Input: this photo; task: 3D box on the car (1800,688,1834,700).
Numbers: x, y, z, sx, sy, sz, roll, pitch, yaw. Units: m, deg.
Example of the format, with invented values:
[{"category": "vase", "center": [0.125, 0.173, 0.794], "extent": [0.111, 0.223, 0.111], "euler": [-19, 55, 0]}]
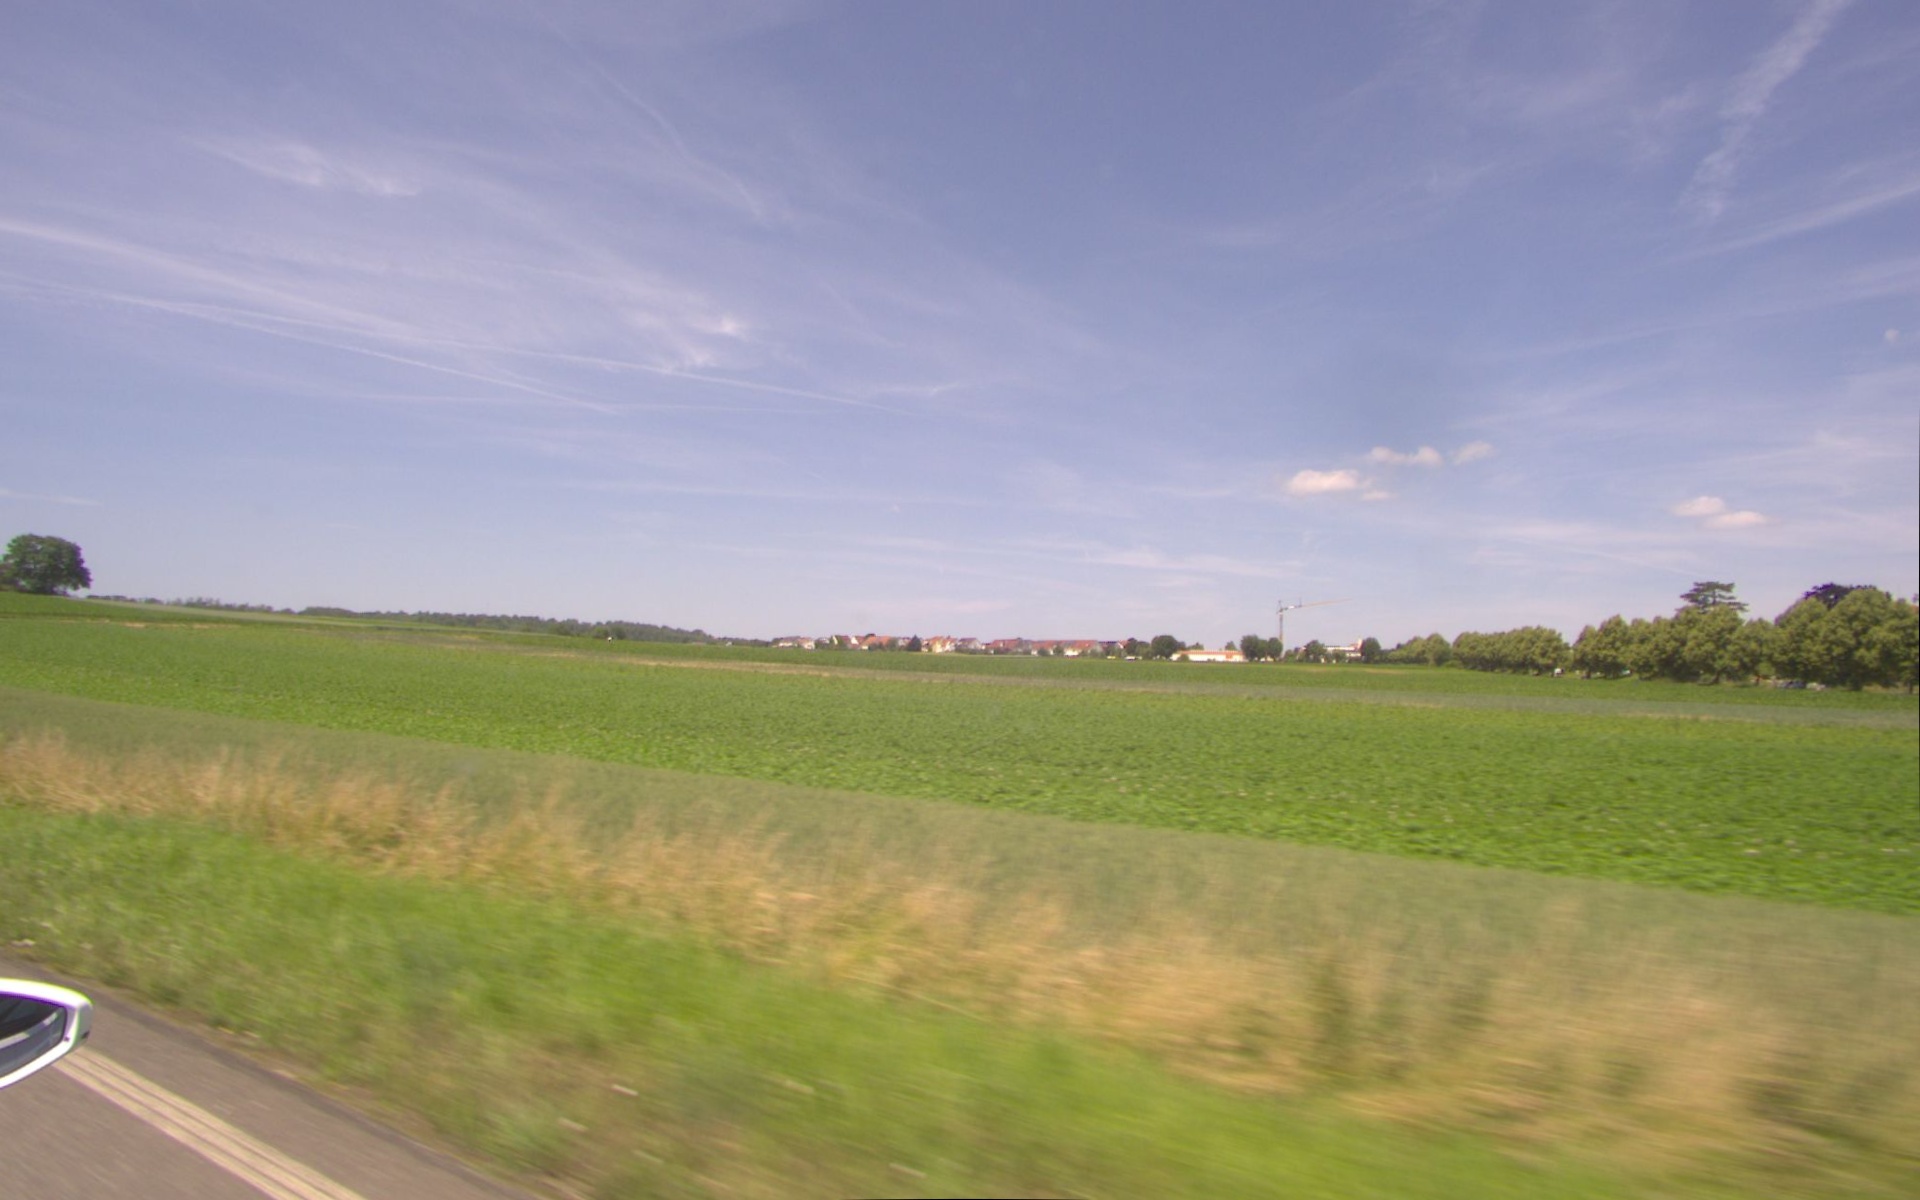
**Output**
[{"category": "car", "center": [118.815, 13.026, 138.903], "extent": [1.963, 1.668, 4.001], "euler": [-1, -5, 14]}]
